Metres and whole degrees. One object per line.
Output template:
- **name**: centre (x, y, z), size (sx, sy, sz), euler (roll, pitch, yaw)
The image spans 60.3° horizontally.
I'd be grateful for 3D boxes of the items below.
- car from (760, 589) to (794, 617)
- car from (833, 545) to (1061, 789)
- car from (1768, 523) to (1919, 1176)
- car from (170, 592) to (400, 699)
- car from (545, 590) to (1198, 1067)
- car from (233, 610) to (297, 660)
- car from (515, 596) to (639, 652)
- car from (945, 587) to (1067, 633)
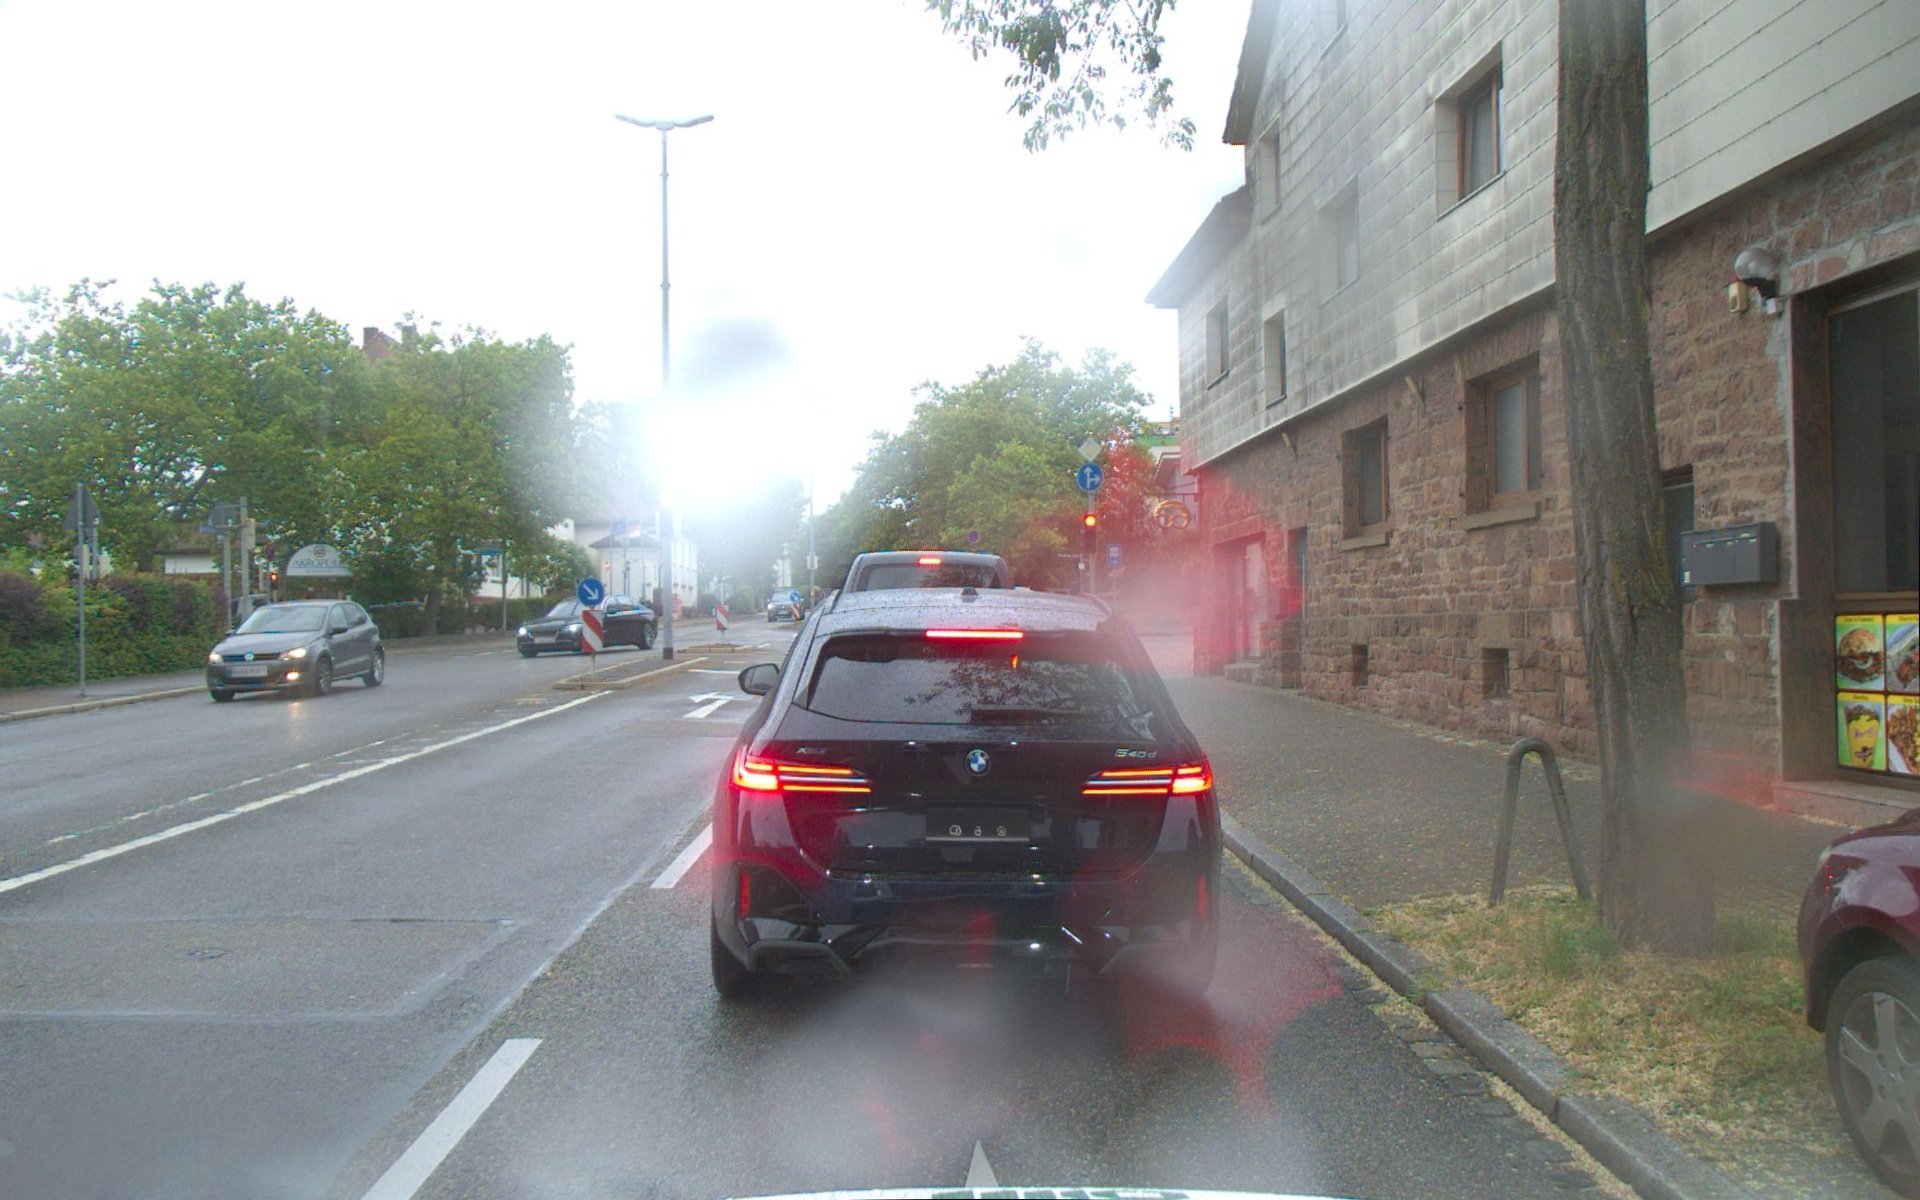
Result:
- **car**: centre (-9.518, 0.135, 86.071), size (1.435, 1.422, 3.321), euler (0, 0, -1)
- **car**: centre (-0.196, 0.490, 14.628), size (1.748, 1.849, 3.998), euler (0, 0, -3)
- **car**: centre (3.049, 0.557, 2.602), size (1.553, 1.516, 3.625), euler (-3, 1, -4)
- **car**: centre (-10.452, 0.654, 25.952), size (1.952, 1.536, 3.955), euler (0, 0, 0)
- **car**: centre (-0.388, 0.712, 7.410), size (2.023, 1.472, 4.480), euler (1, 0, -3)
- **car**: centre (-23.833, 1.159, 56.809), size (1.966, 1.579, 3.973), euler (0, 0, -22)
- **car**: centre (-9.658, 0.580, 42.011), size (1.803, 1.311, 4.003), euler (0, 0, 7)
- **car**: centre (1.632, 0.323, 58.124), size (3.938, 1.579, 1.809), euler (0, 0, -27)
